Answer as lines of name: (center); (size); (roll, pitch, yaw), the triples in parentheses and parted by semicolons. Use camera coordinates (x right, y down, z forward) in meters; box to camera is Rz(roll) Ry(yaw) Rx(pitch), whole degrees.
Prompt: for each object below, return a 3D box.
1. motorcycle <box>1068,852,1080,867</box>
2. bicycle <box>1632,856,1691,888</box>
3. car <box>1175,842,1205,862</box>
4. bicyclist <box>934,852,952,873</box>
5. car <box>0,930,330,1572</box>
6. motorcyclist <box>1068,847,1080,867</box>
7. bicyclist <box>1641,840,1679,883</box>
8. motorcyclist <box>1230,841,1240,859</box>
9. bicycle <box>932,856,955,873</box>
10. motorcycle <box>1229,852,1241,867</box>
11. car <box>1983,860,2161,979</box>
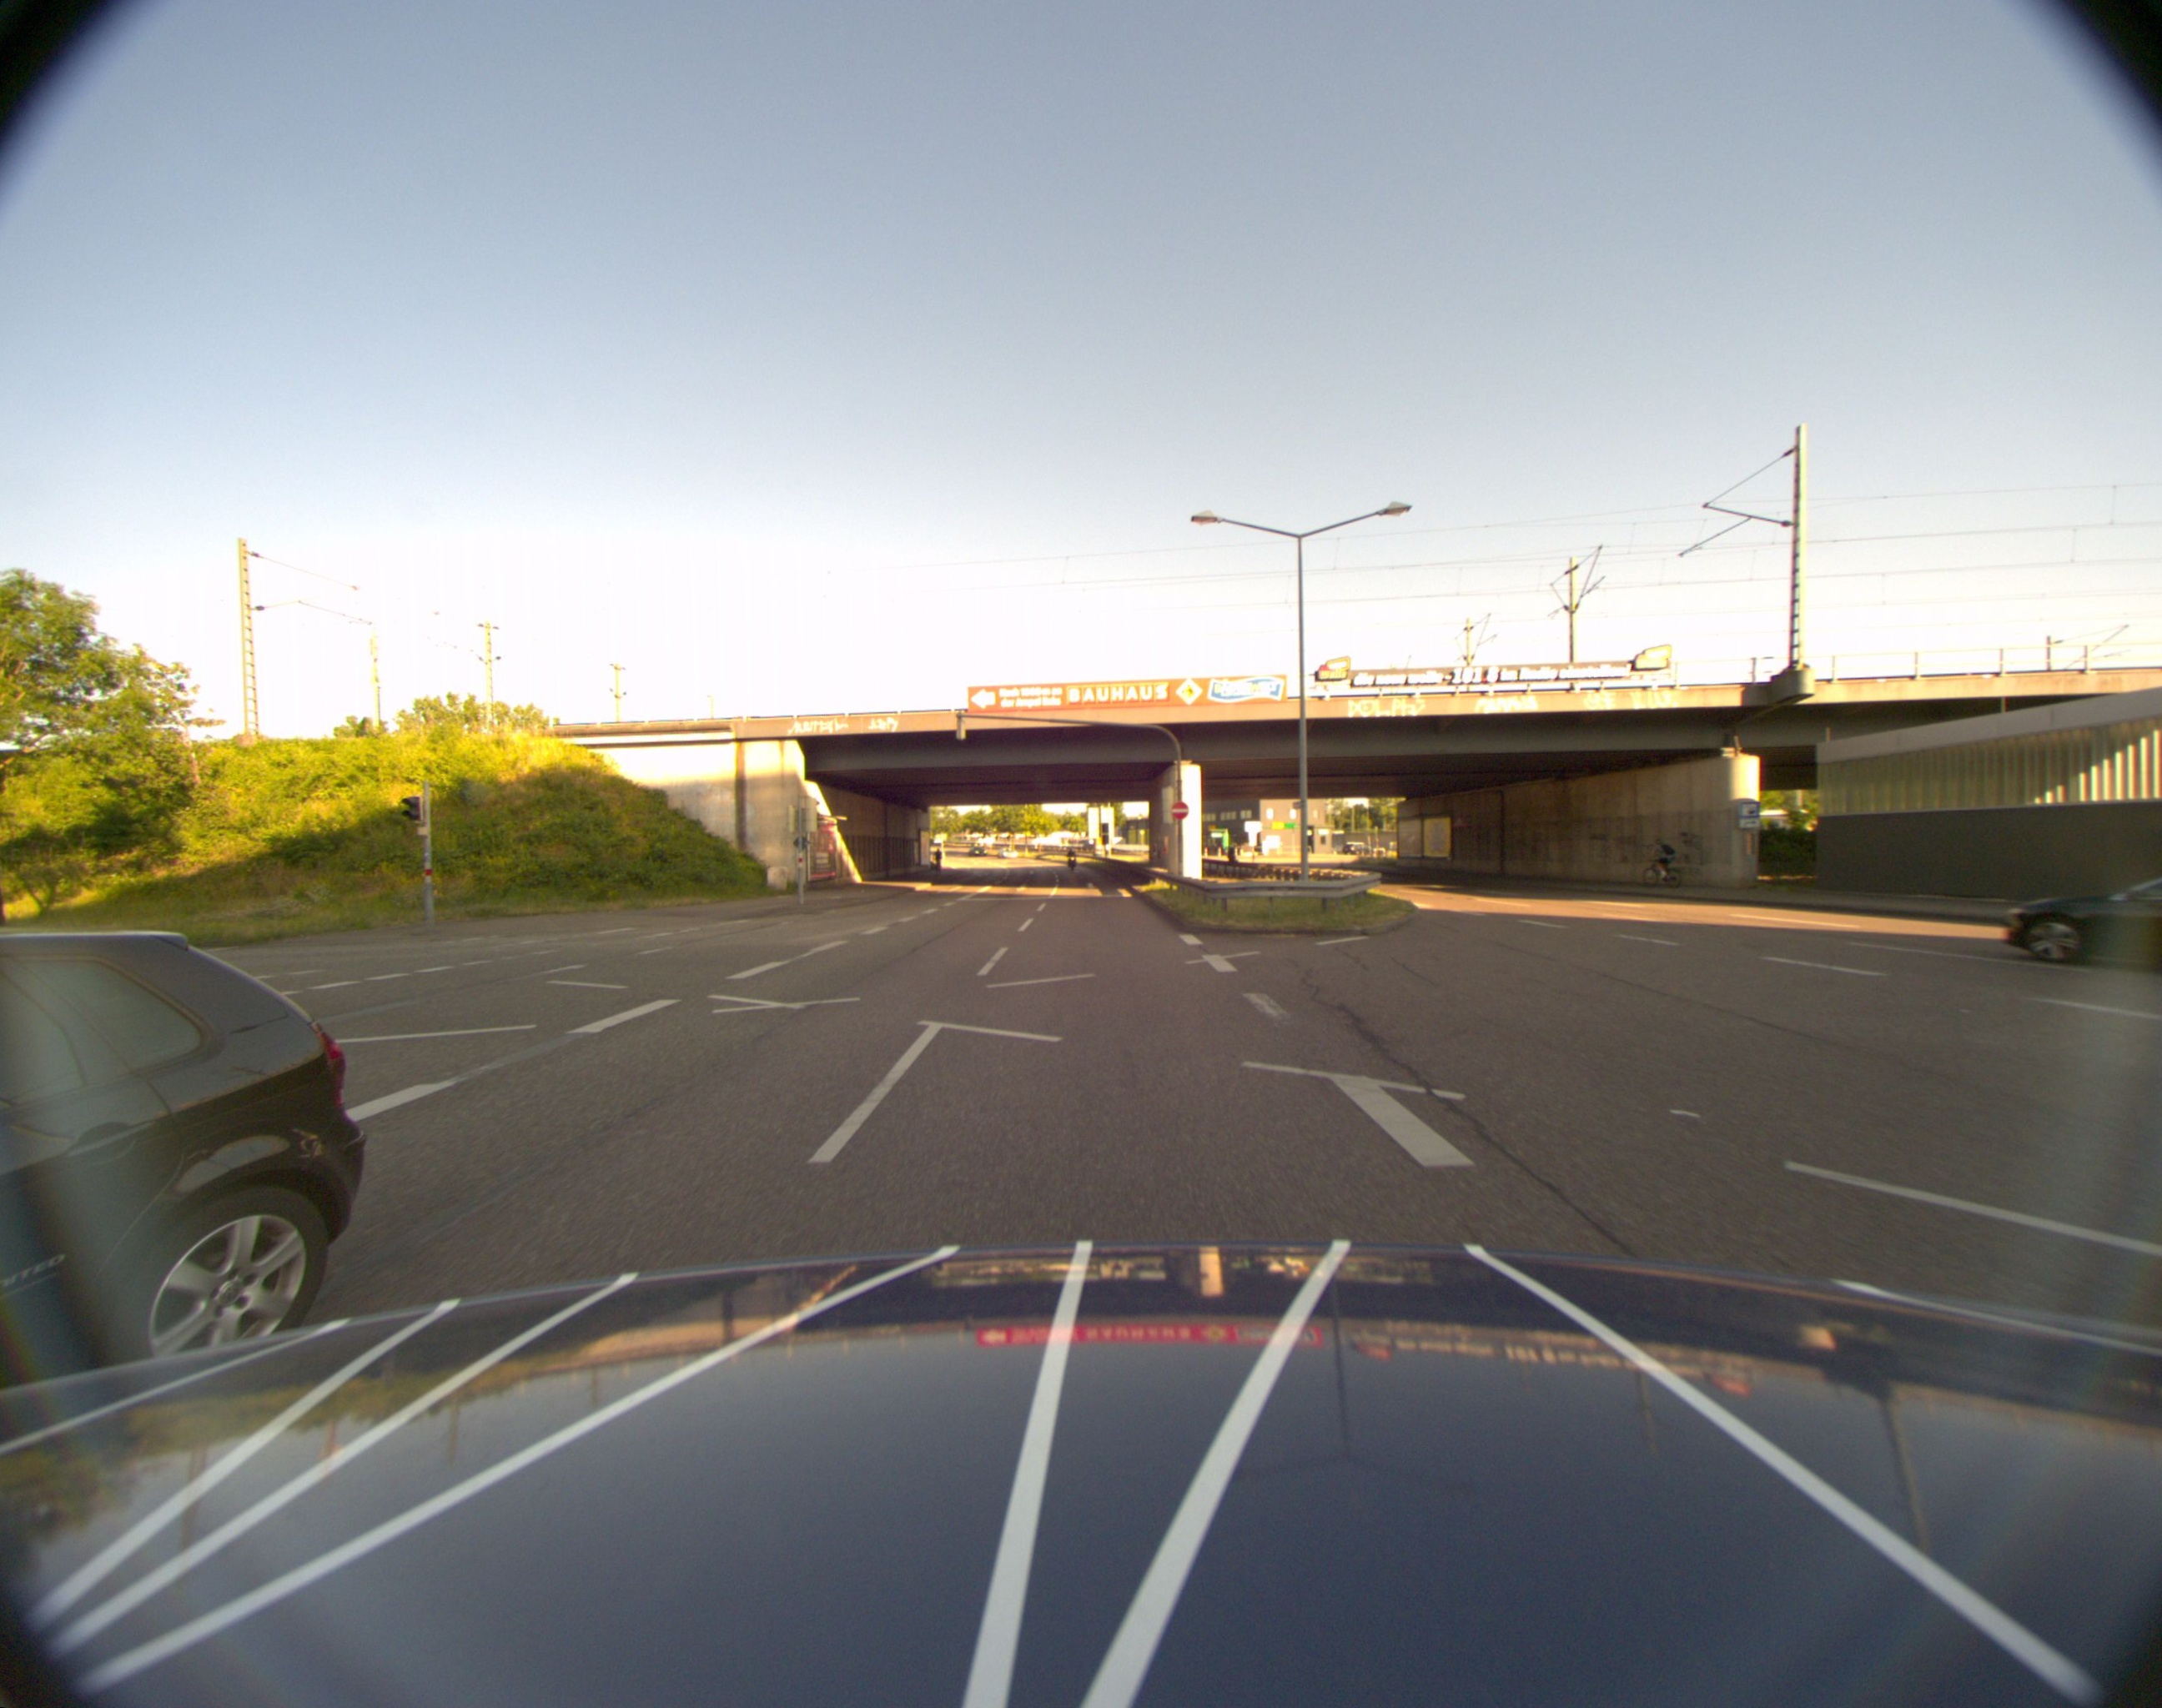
motorcycle: (-0.524, 0.420, 58.260); (0.811, 1.040, 2.352); (-2, 2, 1)
bicycle: (22.003, 0.668, 28.850); (0.706, 1.149, 2.081); (-2, 0, 5)
car: (9.940, -0.241, 69.744); (1.999, 1.687, 4.679); (2, 1, -1)
bicyclist: (-9.602, 0.558, 52.940); (0.844, 1.413, 1.111); (-3, 2, -27)
car: (-3.331, 1.029, 0.671); (1.621, 1.402, 3.681); (-2, 2, -1)
motorcyclist: (-0.522, 0.233, 58.265); (0.839, 1.434, 0.878); (-2, 2, 0)
bicyclist: (21.998, 0.282, 28.887); (0.726, 1.555, 0.939); (-2, 2, 5)
motorcyclist: (12.648, -0.315, 62.511); (0.683, 1.416, 0.867); (-2, 2, 4)
bicycle: (-9.595, 0.716, 53.010); (0.784, 1.051, 2.490); (-3, 2, -28)
motorcycle: (12.669, 0.441, 62.515); (0.682, 1.150, 2.239); (-2, 2, 4)
car: (14.171, 0.877, 8.875); (1.999, 1.393, 4.347); (2, 1, -1)
